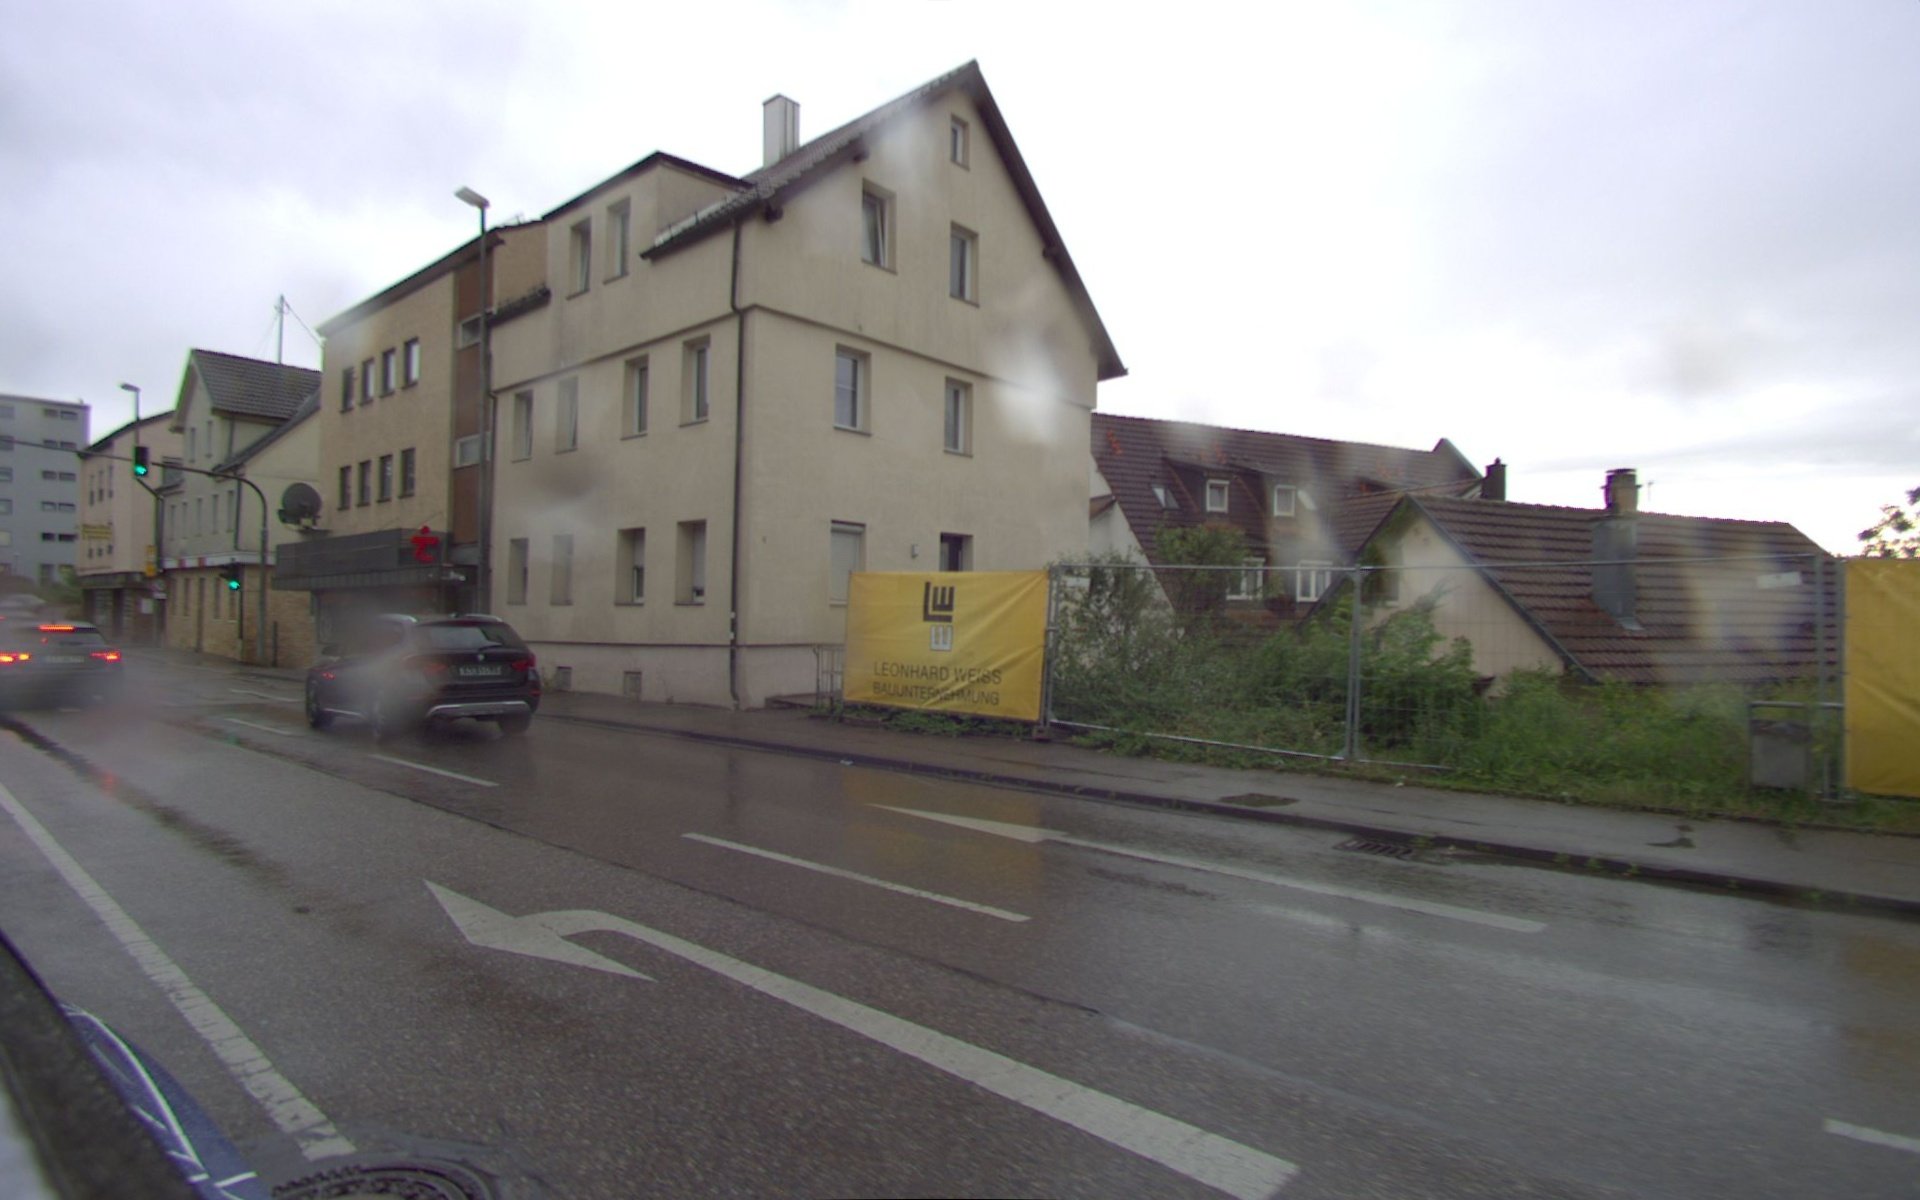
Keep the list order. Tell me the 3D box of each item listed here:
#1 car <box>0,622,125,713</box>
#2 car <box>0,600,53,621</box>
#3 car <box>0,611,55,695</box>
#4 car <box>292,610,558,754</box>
[{"bbox_3d":[-15.766,1.083,17.307,3.667,1.394,1.689,-1,-2,41],"label":"car"},{"bbox_3d":[-67.580,0.791,72.531,1.663,1.472,4.002,0,-1,-3],"label":"car"},{"bbox_3d":[-20.671,1.104,21.356,4.272,1.657,1.797,-2,-2,41],"label":"car"},{"bbox_3d":[-7.135,0.976,13.290,4.276,1.583,1.795,-1,-3,44],"label":"car"}]
